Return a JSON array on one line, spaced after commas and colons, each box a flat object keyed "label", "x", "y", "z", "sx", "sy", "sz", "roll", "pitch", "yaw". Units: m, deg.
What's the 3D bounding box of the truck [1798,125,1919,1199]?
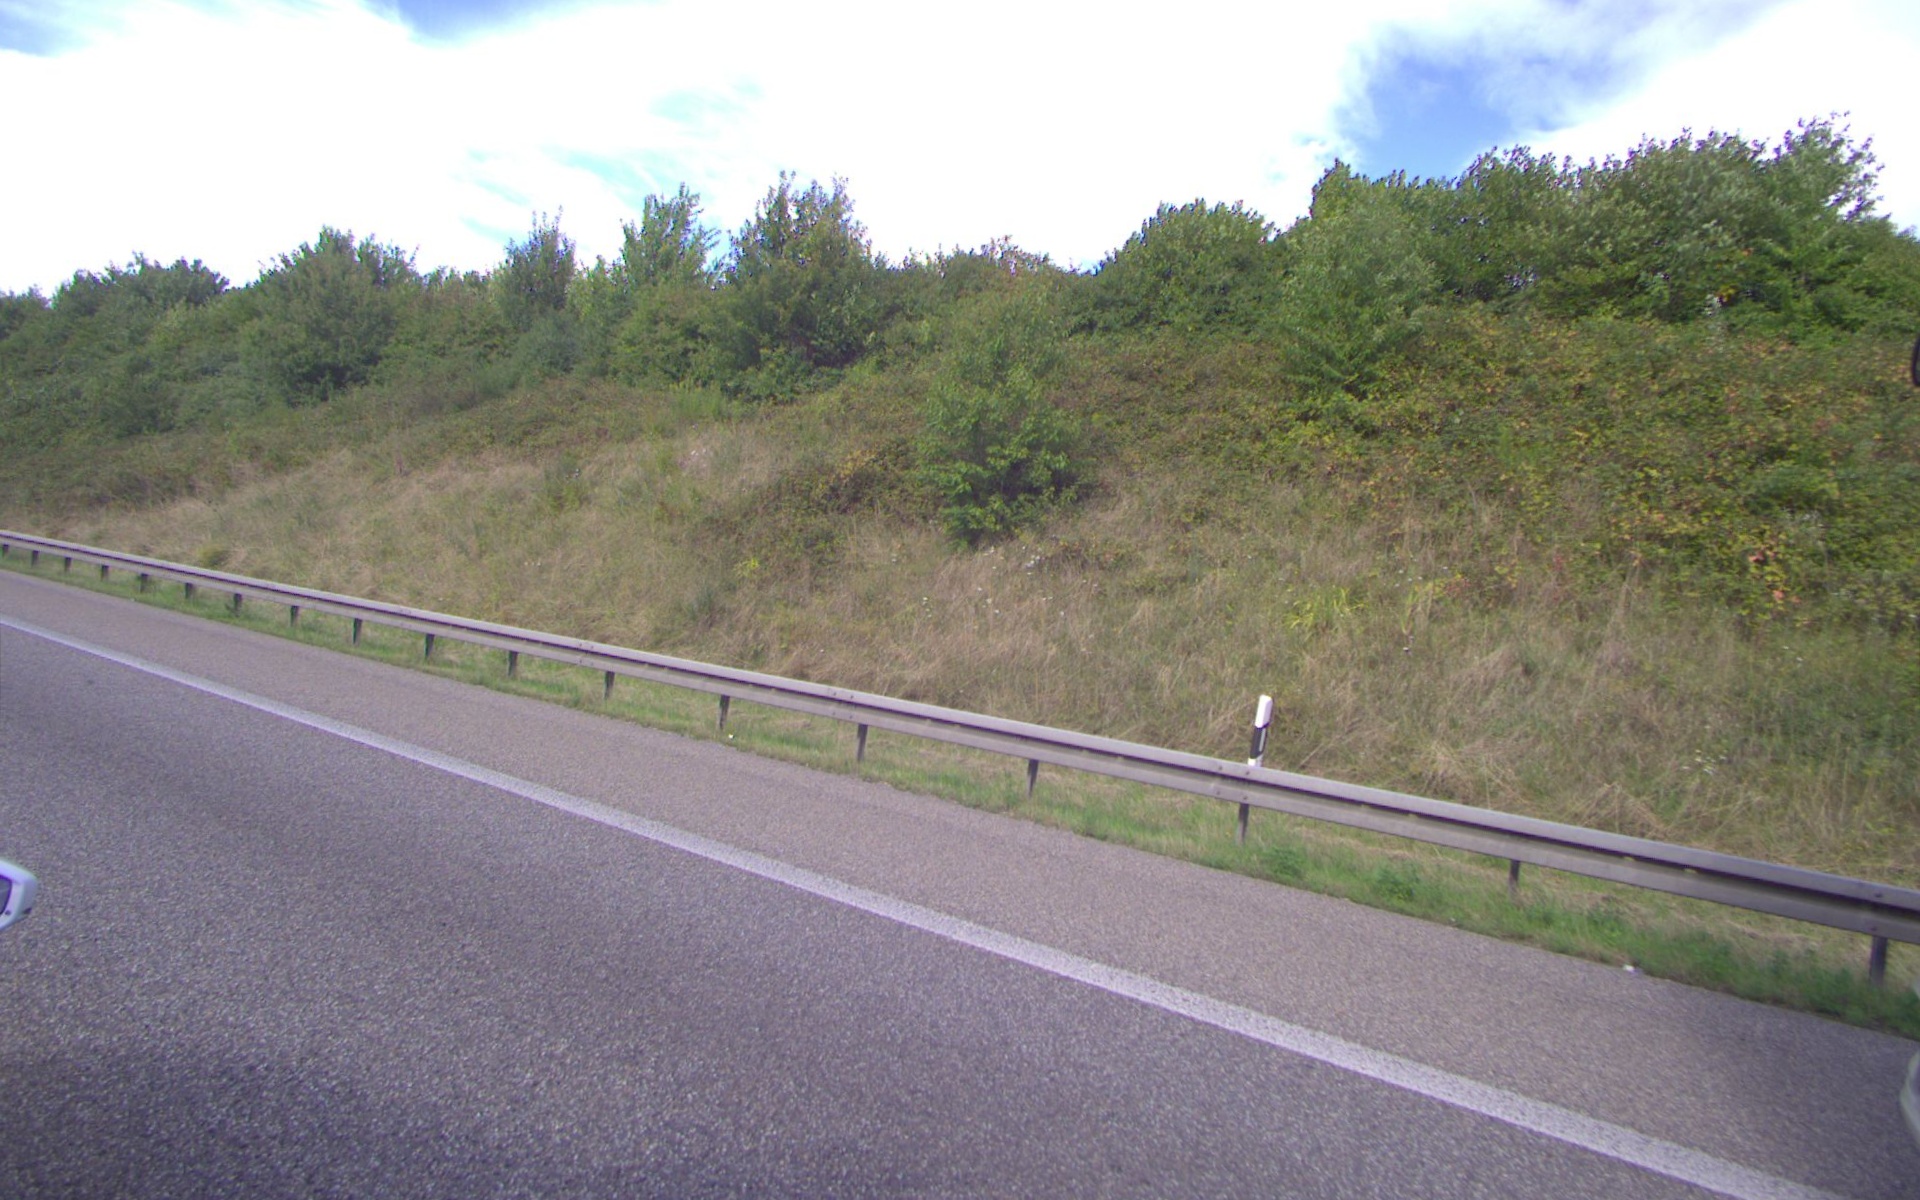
[{"label": "truck", "x": 5.005, "y": 0.058, "z": 0.928, "sx": 5.808, "sy": 4.091, "sz": 2.806, "roll": 7, "pitch": -1, "yaw": 33}]
